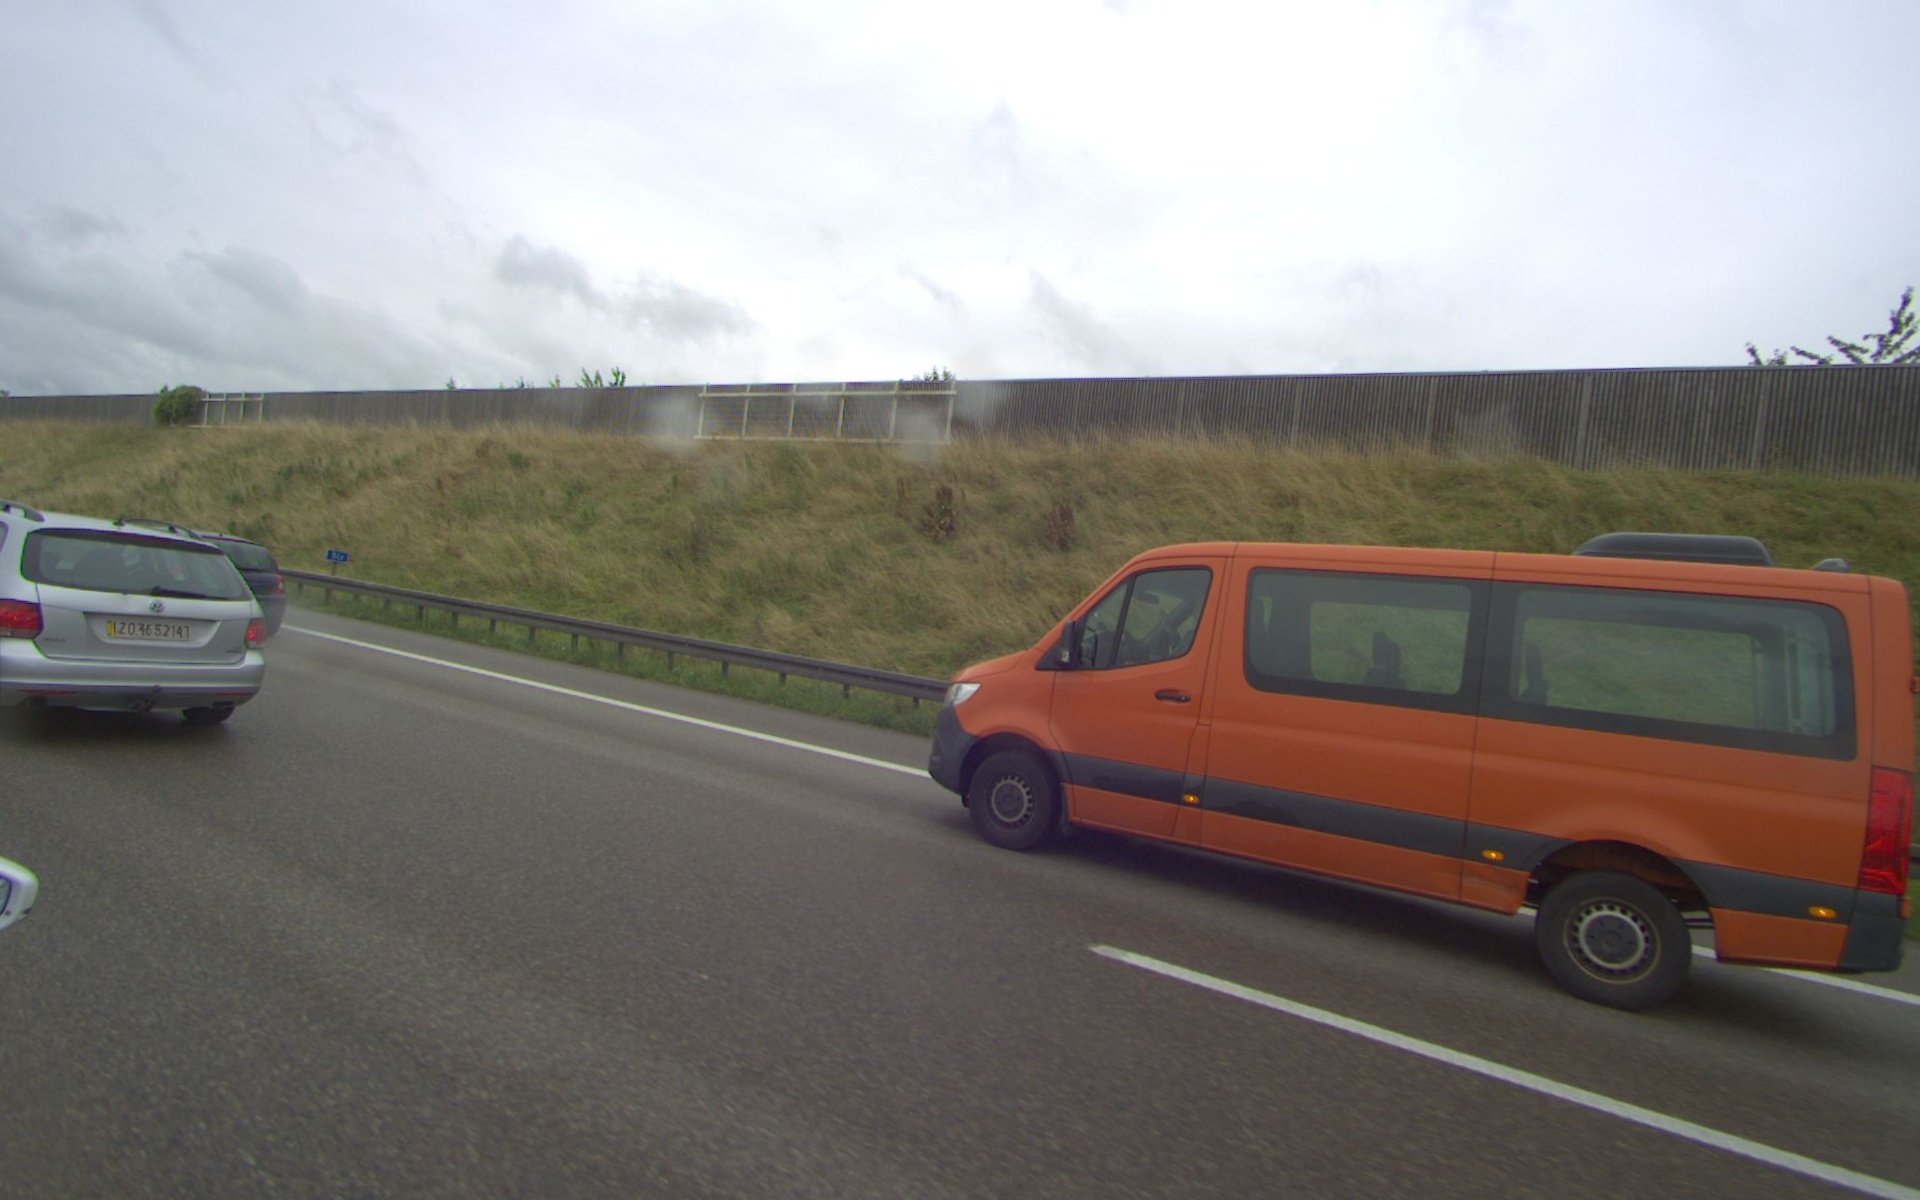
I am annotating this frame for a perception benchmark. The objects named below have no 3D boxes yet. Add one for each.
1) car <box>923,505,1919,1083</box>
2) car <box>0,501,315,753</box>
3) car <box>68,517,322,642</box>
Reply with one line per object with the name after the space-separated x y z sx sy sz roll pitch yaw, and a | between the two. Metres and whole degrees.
2.991 0.874 6.648 6.076 2.343 2.090 7 0 30 | car
-7.048 0.012 7.654 4.441 1.442 1.744 7 0 31 | car
-11.745 -0.334 15.409 3.810 1.417 1.706 6 -2 31 | car
